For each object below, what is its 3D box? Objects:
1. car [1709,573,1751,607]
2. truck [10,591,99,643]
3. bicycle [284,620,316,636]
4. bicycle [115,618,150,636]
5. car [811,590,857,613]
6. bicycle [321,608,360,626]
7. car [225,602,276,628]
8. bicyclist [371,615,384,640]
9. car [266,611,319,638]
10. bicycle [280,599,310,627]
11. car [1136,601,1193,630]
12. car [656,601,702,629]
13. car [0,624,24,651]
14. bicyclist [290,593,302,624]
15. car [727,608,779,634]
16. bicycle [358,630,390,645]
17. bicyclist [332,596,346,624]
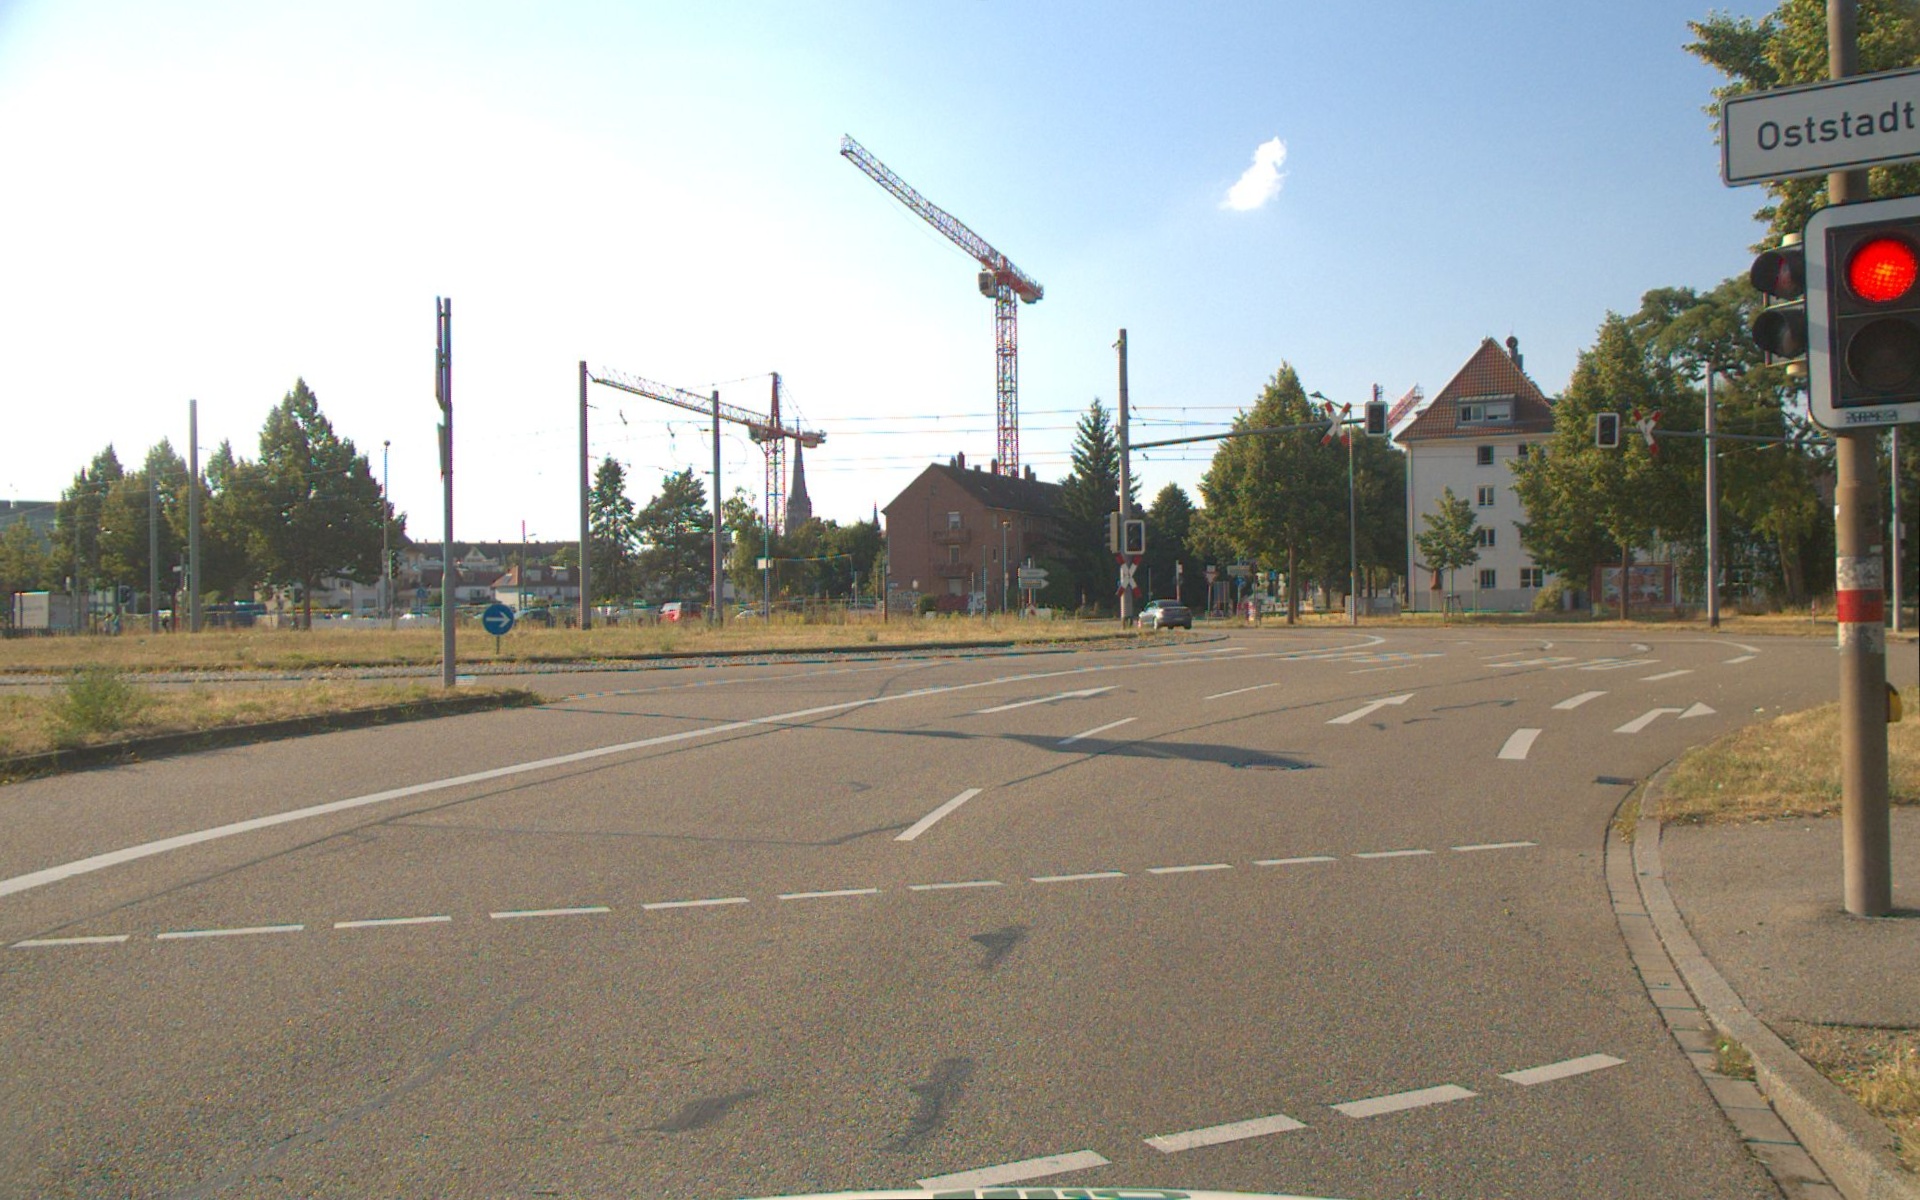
[{"bbox_3d":[38.499,-0.484,82.671,1.737,1.646,3.964,-1,-1,27],"label":"car"},{"bbox_3d":[-59.615,1.136,108.850,7.050,3.287,3.117,-1,0,44],"label":"truck"},{"bbox_3d":[-36.959,1.566,92.606,1.595,0.875,0.540,-1,0,-27],"label":"bicycle"},{"bbox_3d":[-42.424,1.382,84.783,1.595,0.875,0.540,-1,0,-27],"label":"bicycle"},{"bbox_3d":[-11.379,0.139,149.410,3.728,2.049,1.673,-1,-1,18],"label":"car"},{"bbox_3d":[-34.050,0.942,90.967,1.949,0.934,0.429,-1,0,-6],"label":"bicycle"},{"bbox_3d":[-58.210,1.254,135.656,3.917,2.049,1.994,-1,0,34],"label":"car"},{"bbox_3d":[-33.146,1.560,94.062,0.643,1.349,0.515,-1,0,-22],"label":"bicyclist"},{"bbox_3d":[-52.361,1.927,129.750,3.917,2.049,1.994,-1,0,34],"label":"car"},{"bbox_3d":[-36.817,0.724,91.602,1.520,1.499,0.475,-1,0,-26],"label":"bicycle"},{"bbox_3d":[9.889,0.728,80.167,1.433,1.323,3.531,-1,0,-18],"label":"car"},{"bbox_3d":[-19.697,1.044,115.972,1.899,1.886,3.959,-1,0,-30],"label":"car"},{"bbox_3d":[-47.338,1.850,80.896,2.645,1.283,1.100,-1,0,-36],"label":"car"},{"bbox_3d":[-36.799,0.461,91.639,0.599,1.701,0.474,-1,-1,-25],"label":"bicyclist"},{"bbox_3d":[-16.542,1.663,132.069,3.728,2.049,1.673,-1,-1,18],"label":"car"},{"bbox_3d":[-33.291,2.137,93.991,1.692,0.757,0.477,-1,0,-22],"label":"bicycle"},{"bbox_3d":[-34.168,0.532,90.955,0.610,1.537,0.418,-1,0,-6],"label":"bicyclist"}]
